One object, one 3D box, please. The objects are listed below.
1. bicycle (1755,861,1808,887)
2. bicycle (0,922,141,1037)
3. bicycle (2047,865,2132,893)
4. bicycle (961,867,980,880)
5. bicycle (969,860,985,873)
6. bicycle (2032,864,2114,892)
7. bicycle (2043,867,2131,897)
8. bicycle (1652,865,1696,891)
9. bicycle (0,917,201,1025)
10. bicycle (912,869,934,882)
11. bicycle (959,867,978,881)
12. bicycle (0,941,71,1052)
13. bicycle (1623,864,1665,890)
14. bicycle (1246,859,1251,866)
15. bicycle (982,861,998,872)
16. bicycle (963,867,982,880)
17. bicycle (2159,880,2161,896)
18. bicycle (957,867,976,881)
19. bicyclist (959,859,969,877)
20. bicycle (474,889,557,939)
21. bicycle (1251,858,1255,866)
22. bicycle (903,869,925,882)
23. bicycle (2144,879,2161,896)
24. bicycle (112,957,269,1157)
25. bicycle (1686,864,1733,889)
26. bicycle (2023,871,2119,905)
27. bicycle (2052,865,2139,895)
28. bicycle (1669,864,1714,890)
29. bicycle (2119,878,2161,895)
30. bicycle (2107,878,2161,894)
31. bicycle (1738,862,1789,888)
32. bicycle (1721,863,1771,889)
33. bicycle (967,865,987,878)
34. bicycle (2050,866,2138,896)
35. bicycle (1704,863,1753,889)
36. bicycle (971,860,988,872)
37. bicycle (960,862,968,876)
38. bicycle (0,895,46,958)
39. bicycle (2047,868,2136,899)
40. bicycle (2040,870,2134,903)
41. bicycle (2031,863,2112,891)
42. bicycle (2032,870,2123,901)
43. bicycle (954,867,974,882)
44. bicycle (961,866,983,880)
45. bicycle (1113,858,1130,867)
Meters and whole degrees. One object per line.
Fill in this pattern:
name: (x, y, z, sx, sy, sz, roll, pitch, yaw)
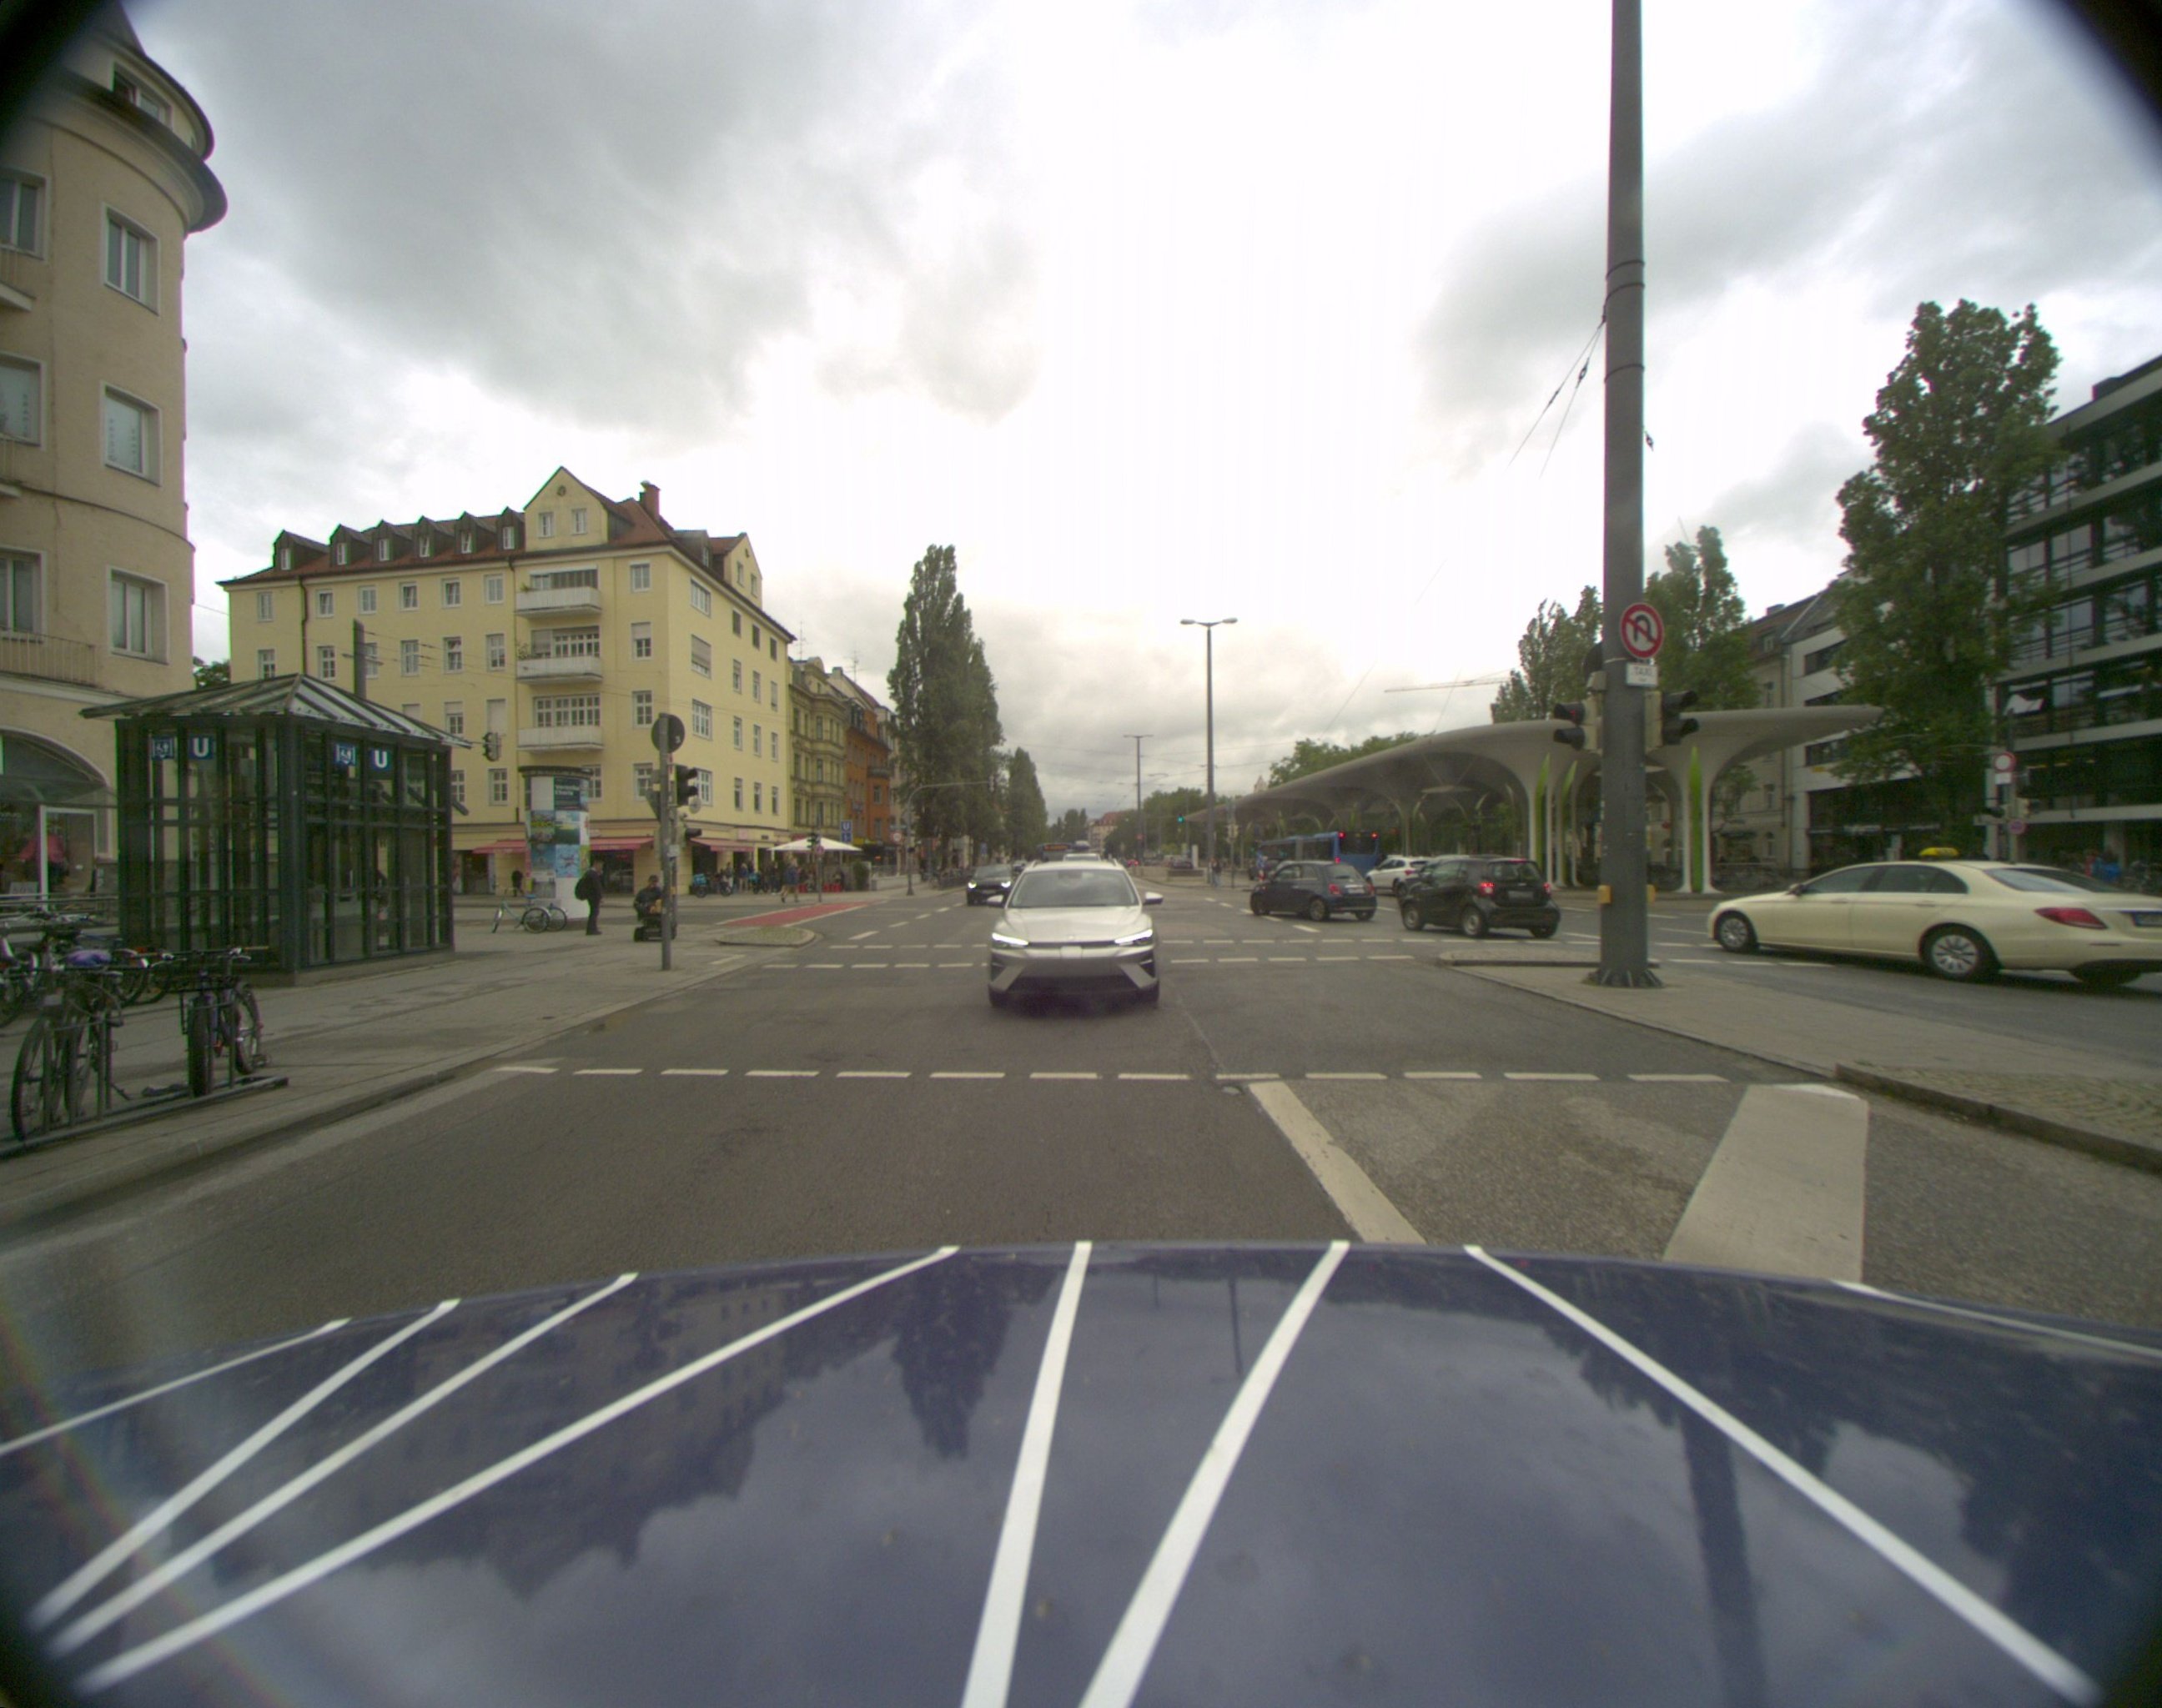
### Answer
bicycle: (31.288, 0.889, 33.965, 0.654, 1.111, 2.184, -1, 0, 10)
bicycle: (-10.845, 1.264, 7.738, 1.843, 1.088, 0.509, 0, 0, -2)
bicycle: (35.468, 0.862, 26.758, 1.726, 0.934, 0.456, 1, 2, 44)
bicycle: (-8.346, 1.473, 57.361, 1.836, 0.990, 0.349, 0, 1, 40)
bicycle: (-8.844, 1.069, 64.520, 0.326, 0.989, 1.837, -1, -1, -43)
bicycle: (35.622, 0.855, 27.307, 1.726, 0.934, 0.456, 1, 2, 44)
bicycle: (33.960, 0.935, 25.681, 1.726, 0.934, 0.456, 1, 2, 42)
bicycle: (27.176, 1.072, 34.846, 0.654, 1.111, 2.184, -1, 0, 10)
bicycle: (-10.867, 1.266, 8.305, 1.843, 1.088, 0.509, 0, 0, -2)
bicycle: (-13.316, 1.773, 63.949, 1.728, 1.039, 0.387, -1, -1, -6)
bicycle: (-8.297, 1.469, 56.007, 1.836, 0.990, 0.349, 0, 1, 44)
bicycle: (-10.798, 1.340, 7.148, 1.843, 0.958, 0.509, 0, 0, -2)
bicycle: (25.765, 1.039, 34.826, 0.642, 1.118, 2.167, -1, 0, 9)
bicycle: (22.885, 1.166, 103.835, 0.479, 0.889, 1.850, -1, 0, 8)
bicycle: (-8.571, 1.162, 71.262, 1.837, 0.989, 0.376, -3, -1, 42)
bicycle: (-8.304, 1.473, 58.136, 1.837, 0.990, 0.326, 0, 0, 44)
bicycle: (41.353, 1.271, 28.250, 1.631, 0.629, 0.363, 0, 0, 15)
bicycle: (-8.323, 1.469, 55.289, 1.836, 0.990, 0.349, 0, 1, 44)
bicyclist: (-10.608, 1.250, 68.949, 0.681, 1.594, 0.939, -1, 0, 0)
bicycle: (-13.346, 1.405, 17.941, 1.572, 1.153, 0.525, 0, -1, 3)
bicycle: (23.428, 1.067, 103.727, 0.479, 1.090, 1.851, -1, 0, 11)
bicycle: (-14.236, 1.820, 64.805, 1.725, 1.039, 0.388, -2, -1, 11)
bicycle: (41.465, 1.266, 28.726, 1.631, 0.629, 0.363, 0, 0, 15)
bicycle: (-6.171, 1.325, 5.333, 0.500, 1.022, 1.597, -1, 0, -42)
bicycle: (28.540, 1.003, 34.542, 0.654, 1.111, 2.184, -1, 0, 10)
bicycle: (30.255, 1.036, 23.253, 0.455, 0.934, 1.728, -1, 1, -20)
bicycle: (34.989, 0.885, 26.236, 1.726, 0.934, 0.456, 1, 2, 42)
bicycle: (27.844, 1.038, 34.699, 0.654, 1.111, 2.184, -1, 0, 10)
bicycle: (41.602, 1.261, 29.522, 1.631, 0.629, 0.363, 0, 0, 15)
bicycle: (41.676, 1.258, 29.944, 1.631, 0.629, 0.363, 0, 0, 15)
bicycle: (30.593, 0.924, 34.112, 0.654, 1.111, 2.184, -1, 0, 10)
bicycle: (29.947, 0.956, 34.263, 0.654, 1.111, 2.184, -1, 0, 10)
bicycle: (-8.385, 1.416, 61.300, 1.837, 0.989, 0.326, -3, -1, 37)
bicycle: (34.534, 0.907, 25.931, 1.726, 0.934, 0.456, 1, 2, 42)
bicycle: (29.289, 0.989, 34.401, 0.654, 1.111, 2.184, -1, 0, 10)
bicycle: (-8.657, 1.058, 64.810, 1.837, 0.989, 0.326, -3, -1, 42)
bicycle: (-10.595, 1.351, 69.037, 0.424, 1.280, 1.778, -1, 0, 1)
bicycle: (-19.517, 1.308, 13.259, 0.496, 1.083, 1.865, -1, 0, -6)
bicycle: (33.492, 0.958, 25.221, 0.456, 0.934, 1.726, -1, 2, -40)
bicycle: (32.102, 1.026, 24.278, 0.455, 0.934, 1.728, -1, 1, -19)
bicycle: (36.166, 0.828, 27.777, 1.726, 0.934, 0.456, 0, 2, 34)
bicycle: (32.414, 1.011, 24.750, 0.455, 0.934, 1.728, -1, 1, -21)
bicycle: (-8.412, 1.469, 54.578, 1.836, 0.990, 0.349, 0, 1, 40)
bicycle: (-8.433, 1.467, 58.837, 1.837, 1.106, 0.468, 0, 0, 32)
bicycle: (5.262, 1.098, 98.960, 2.235, 1.143, 0.505, -2, 1, -30)
